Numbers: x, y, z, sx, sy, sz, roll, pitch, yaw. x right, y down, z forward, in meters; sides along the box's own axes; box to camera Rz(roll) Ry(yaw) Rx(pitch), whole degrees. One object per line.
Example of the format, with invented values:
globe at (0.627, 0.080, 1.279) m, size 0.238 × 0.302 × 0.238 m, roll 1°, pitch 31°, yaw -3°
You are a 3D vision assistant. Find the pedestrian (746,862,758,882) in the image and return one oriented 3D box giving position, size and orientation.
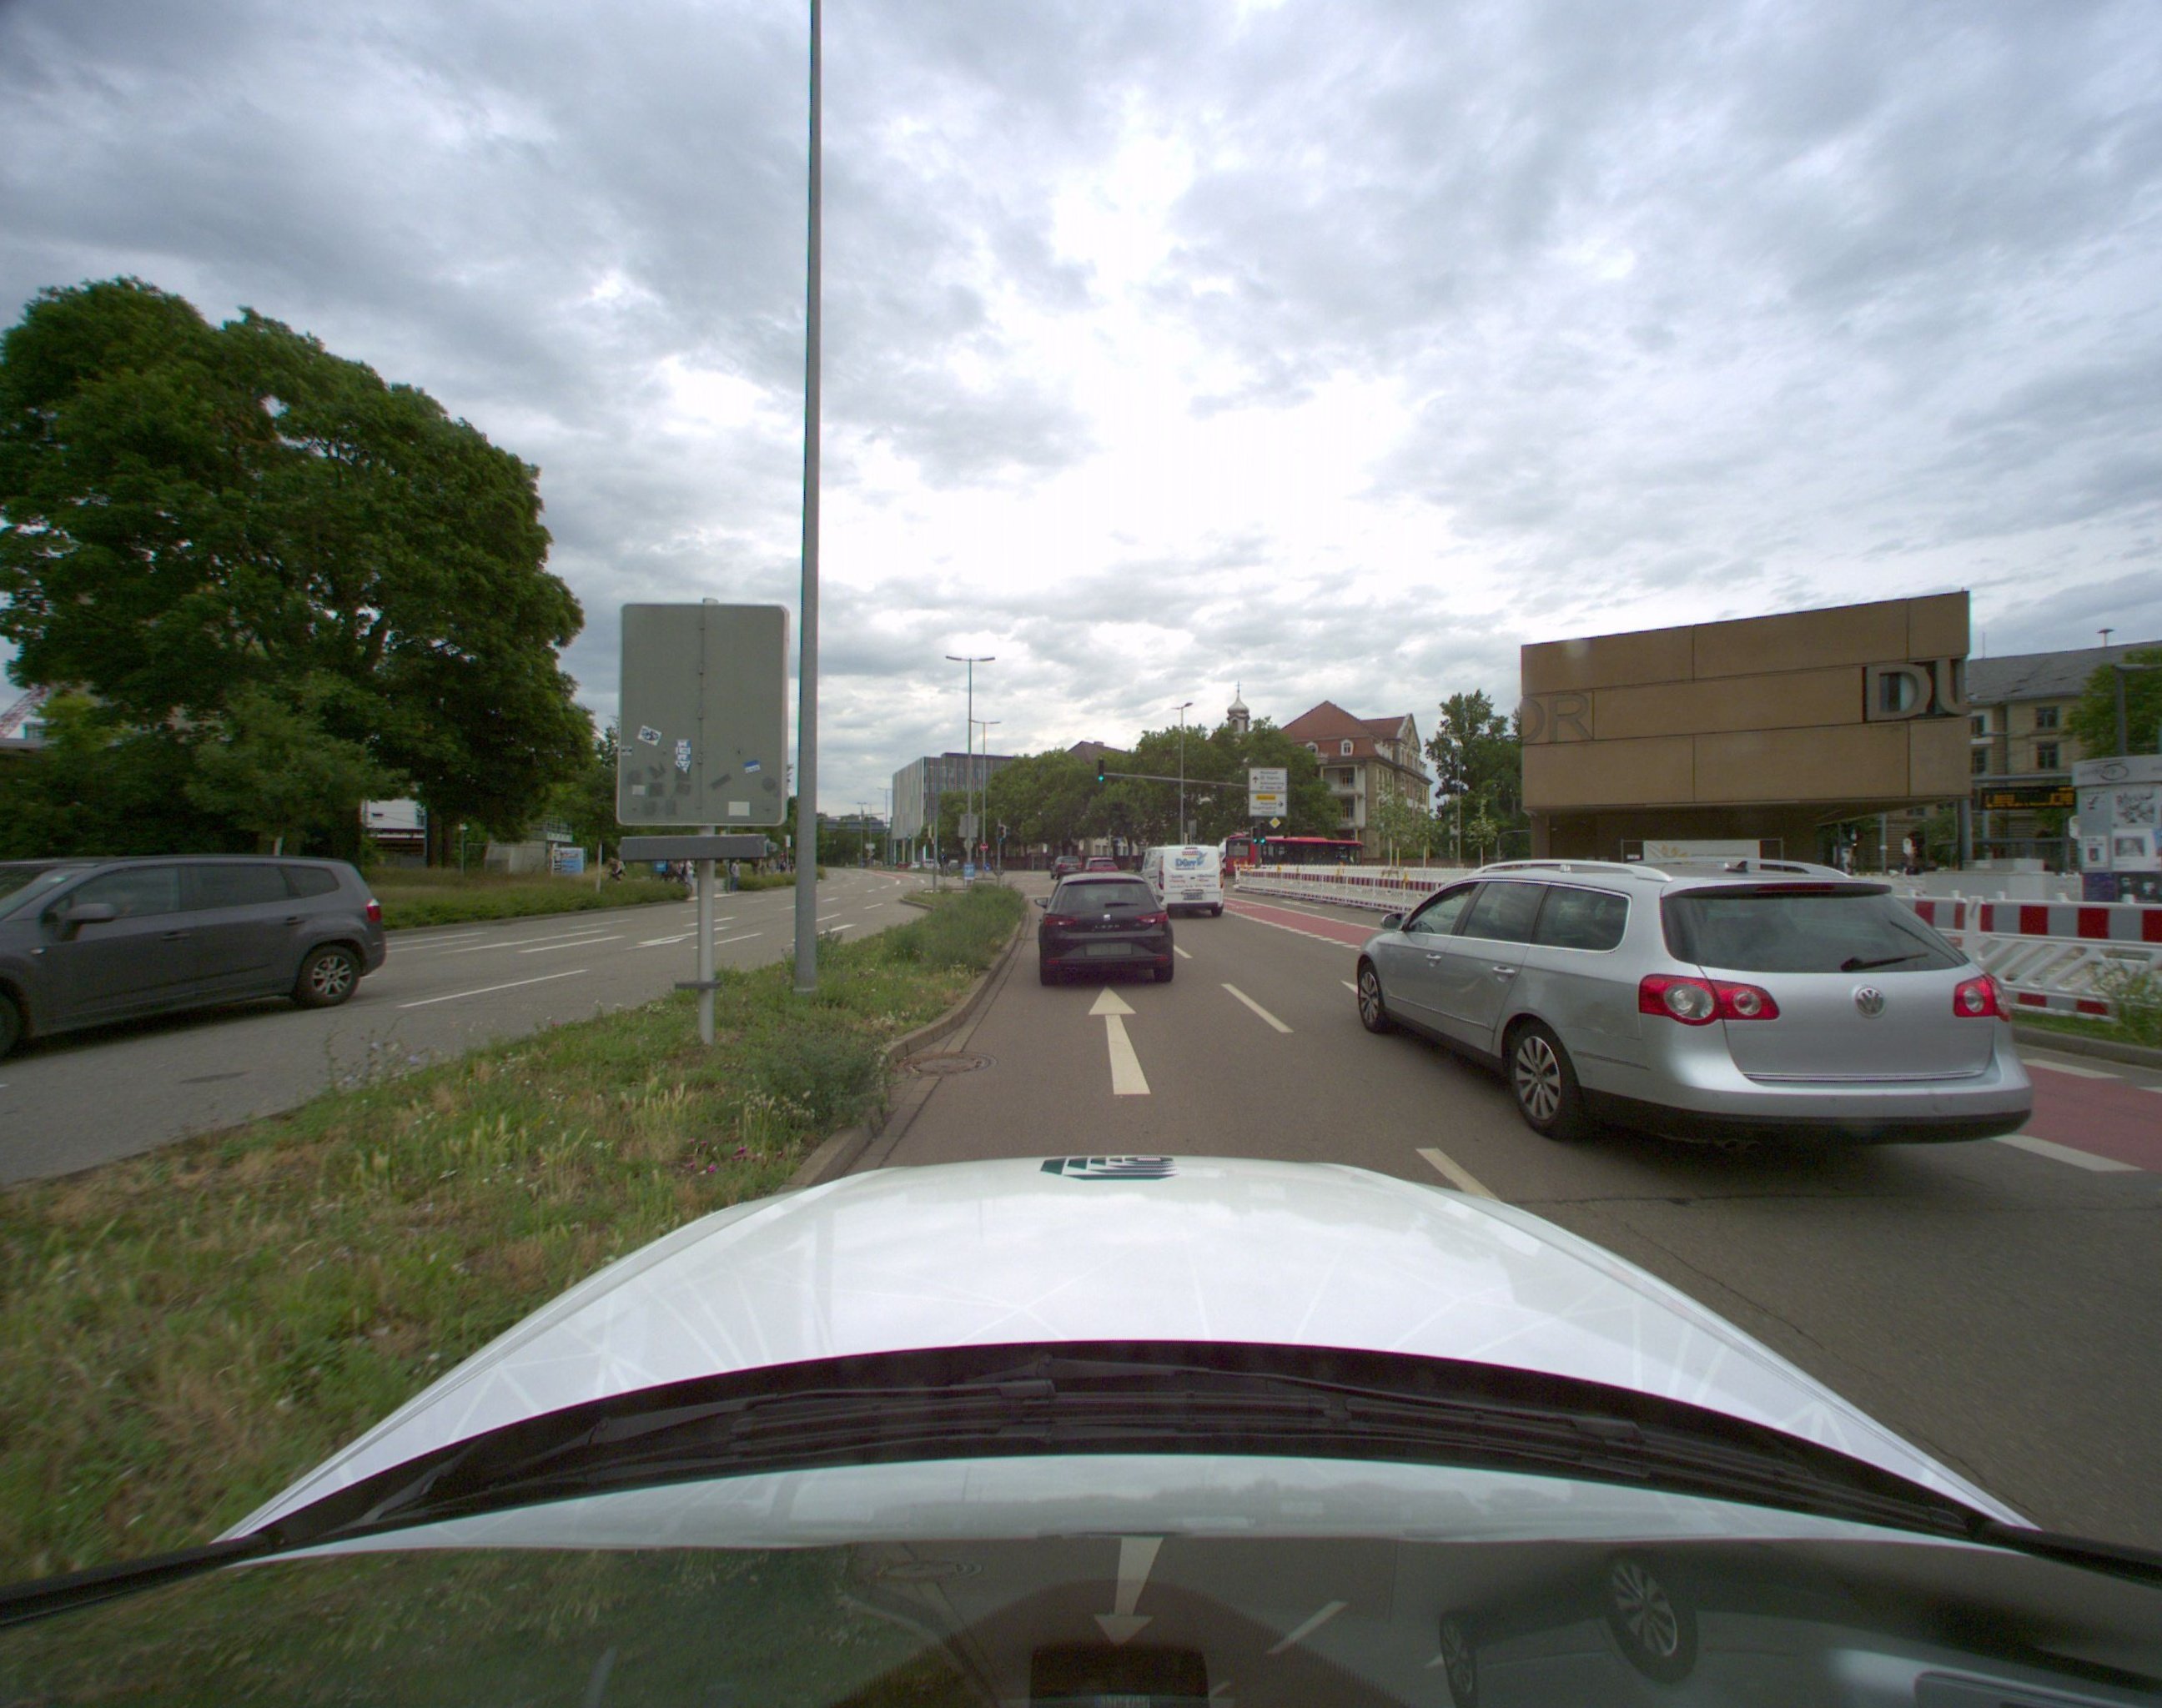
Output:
pedestrian at (-29.823, 1.610, 73.847) m, size 0.755 × 1.765 × 0.903 m, roll 1°, pitch -1°, yaw -10°

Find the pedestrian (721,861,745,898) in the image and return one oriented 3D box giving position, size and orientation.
pedestrian at (-17.323, 1.272, 40.553) m, size 0.890 × 1.842 × 0.667 m, roll 1°, pitch -1°, yaw -1°

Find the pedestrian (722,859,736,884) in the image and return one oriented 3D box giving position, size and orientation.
pedestrian at (-28.239, 1.419, 65.301) m, size 0.755 × 2.014 × 1.043 m, roll 1°, pitch -1°, yaw -10°

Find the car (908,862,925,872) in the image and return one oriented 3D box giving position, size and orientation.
car at (-26.881, 2.139, 132.682) m, size 2.002 × 1.640 × 3.970 m, roll 1°, pitch -1°, yaw -23°

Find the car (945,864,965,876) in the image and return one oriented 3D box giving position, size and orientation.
car at (-18.408, 2.281, 118.920) m, size 1.926 × 1.684 × 3.969 m, roll 1°, pitch -1°, yaw -23°

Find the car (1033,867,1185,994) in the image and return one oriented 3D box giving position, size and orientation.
car at (0.230, 0.969, 11.812) m, size 1.743 × 1.464 × 3.993 m, roll -2°, pitch -2°, yaw -4°

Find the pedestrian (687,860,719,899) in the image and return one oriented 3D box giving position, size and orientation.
pedestrian at (-17.931, 1.193, 38.647) m, size 1.045 × 1.842 × 0.865 m, roll 1°, pitch -1°, yaw -1°

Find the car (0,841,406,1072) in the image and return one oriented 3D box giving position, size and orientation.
car at (-8.987, 0.798, 7.283) m, size 1.863 × 1.725 × 4.713 m, roll -1°, pitch -1°, yaw 2°

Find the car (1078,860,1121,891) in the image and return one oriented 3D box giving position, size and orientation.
car at (0.958, 1.146, 43.867) m, size 1.855 × 1.600 × 4.197 m, roll 1°, pitch -1°, yaw -5°

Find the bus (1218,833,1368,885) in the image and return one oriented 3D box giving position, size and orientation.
bus at (15.211, 0.489, 57.618) m, size 12.431 × 3.298 × 3.035 m, roll 2°, pitch -2°, yaw -36°

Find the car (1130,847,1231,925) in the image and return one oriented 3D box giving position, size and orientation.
car at (2.770, 0.881, 23.896) m, size 1.990 × 2.019 × 5.024 m, roll 1°, pitch -1°, yaw -4°

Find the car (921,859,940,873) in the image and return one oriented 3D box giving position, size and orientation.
car at (-22.701, 1.836, 122.703) m, size 2.001 × 2.014 × 3.971 m, roll 1°, pitch -1°, yaw -22°

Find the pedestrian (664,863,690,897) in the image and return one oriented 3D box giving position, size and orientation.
pedestrian at (-19.790, 1.267, 39.925) m, size 0.839 × 1.649 × 0.805 m, roll 1°, pitch -1°, yaw -1°

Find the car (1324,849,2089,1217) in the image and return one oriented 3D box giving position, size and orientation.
car at (3.251, 0.761, 5.641) m, size 1.715 × 1.482 × 4.626 m, roll 0°, pitch -1°, yaw 0°

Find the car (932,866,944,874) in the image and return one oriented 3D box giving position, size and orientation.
car at (-23.465, 2.617, 133.528) m, size 1.531 × 1.365 × 2.948 m, roll 1°, pitch -1°, yaw -21°

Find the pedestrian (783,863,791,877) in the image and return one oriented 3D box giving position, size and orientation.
pedestrian at (-36.503, 1.973, 101.173) m, size 0.921 × 1.779 × 1.058 m, roll 1°, pitch -1°, yaw -18°

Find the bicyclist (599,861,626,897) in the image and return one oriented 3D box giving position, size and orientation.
bicyclist at (-20.660, 1.105, 35.910) m, size 0.713 × 1.570 × 0.711 m, roll 1°, pitch -2°, yaw -1°

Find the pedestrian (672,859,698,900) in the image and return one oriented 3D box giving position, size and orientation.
pedestrian at (-18.122, 1.156, 37.284) m, size 0.754 × 1.842 × 0.766 m, roll 1°, pitch -1°, yaw -1°

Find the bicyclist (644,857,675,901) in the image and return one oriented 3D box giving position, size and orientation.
bicyclist at (-18.153, 1.064, 35.047) m, size 0.783 × 1.844 × 0.838 m, roll 0°, pitch -1°, yaw 23°

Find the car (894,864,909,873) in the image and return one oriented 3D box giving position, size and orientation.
car at (-33.158, 2.636, 150.646) m, size 2.002 × 1.682 × 3.980 m, roll 1°, pitch -1°, yaw -23°

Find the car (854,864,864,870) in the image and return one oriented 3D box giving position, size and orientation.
car at (-48.520, 2.925, 178.218) m, size 1.718 × 1.265 × 3.316 m, roll 2°, pitch -1°, yaw -21°

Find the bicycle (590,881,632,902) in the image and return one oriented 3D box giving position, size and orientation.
bicycle at (-20.658, 1.635, 35.837) m, size 0.713 × 0.882 × 1.882 m, roll 1°, pitch -1°, yaw -1°

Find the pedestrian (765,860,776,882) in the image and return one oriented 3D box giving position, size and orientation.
pedestrian at (-29.604, 1.622, 77.653) m, size 0.755 × 2.014 × 1.043 m, roll 1°, pitch -1°, yaw -10°

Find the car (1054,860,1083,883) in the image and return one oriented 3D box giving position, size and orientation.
car at (-0.920, 1.285, 59.171) m, size 1.988 × 1.566 × 4.201 m, roll 1°, pitch -1°, yaw -2°

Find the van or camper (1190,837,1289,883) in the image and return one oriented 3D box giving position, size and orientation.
van or camper at (12.242, 0.545, 63.000) m, size 7.158 × 3.333 × 2.855 m, roll 1°, pitch -3°, yaw -23°

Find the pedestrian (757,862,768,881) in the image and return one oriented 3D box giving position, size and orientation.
pedestrian at (-29.046, 1.623, 74.295) m, size 0.755 × 1.713 × 1.043 m, roll 1°, pitch -1°, yaw -10°

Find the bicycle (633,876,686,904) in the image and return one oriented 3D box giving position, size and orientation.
bicycle at (-18.137, 1.527, 35.073) m, size 0.782 × 1.159 × 1.917 m, roll 0°, pitch -1°, yaw 24°
